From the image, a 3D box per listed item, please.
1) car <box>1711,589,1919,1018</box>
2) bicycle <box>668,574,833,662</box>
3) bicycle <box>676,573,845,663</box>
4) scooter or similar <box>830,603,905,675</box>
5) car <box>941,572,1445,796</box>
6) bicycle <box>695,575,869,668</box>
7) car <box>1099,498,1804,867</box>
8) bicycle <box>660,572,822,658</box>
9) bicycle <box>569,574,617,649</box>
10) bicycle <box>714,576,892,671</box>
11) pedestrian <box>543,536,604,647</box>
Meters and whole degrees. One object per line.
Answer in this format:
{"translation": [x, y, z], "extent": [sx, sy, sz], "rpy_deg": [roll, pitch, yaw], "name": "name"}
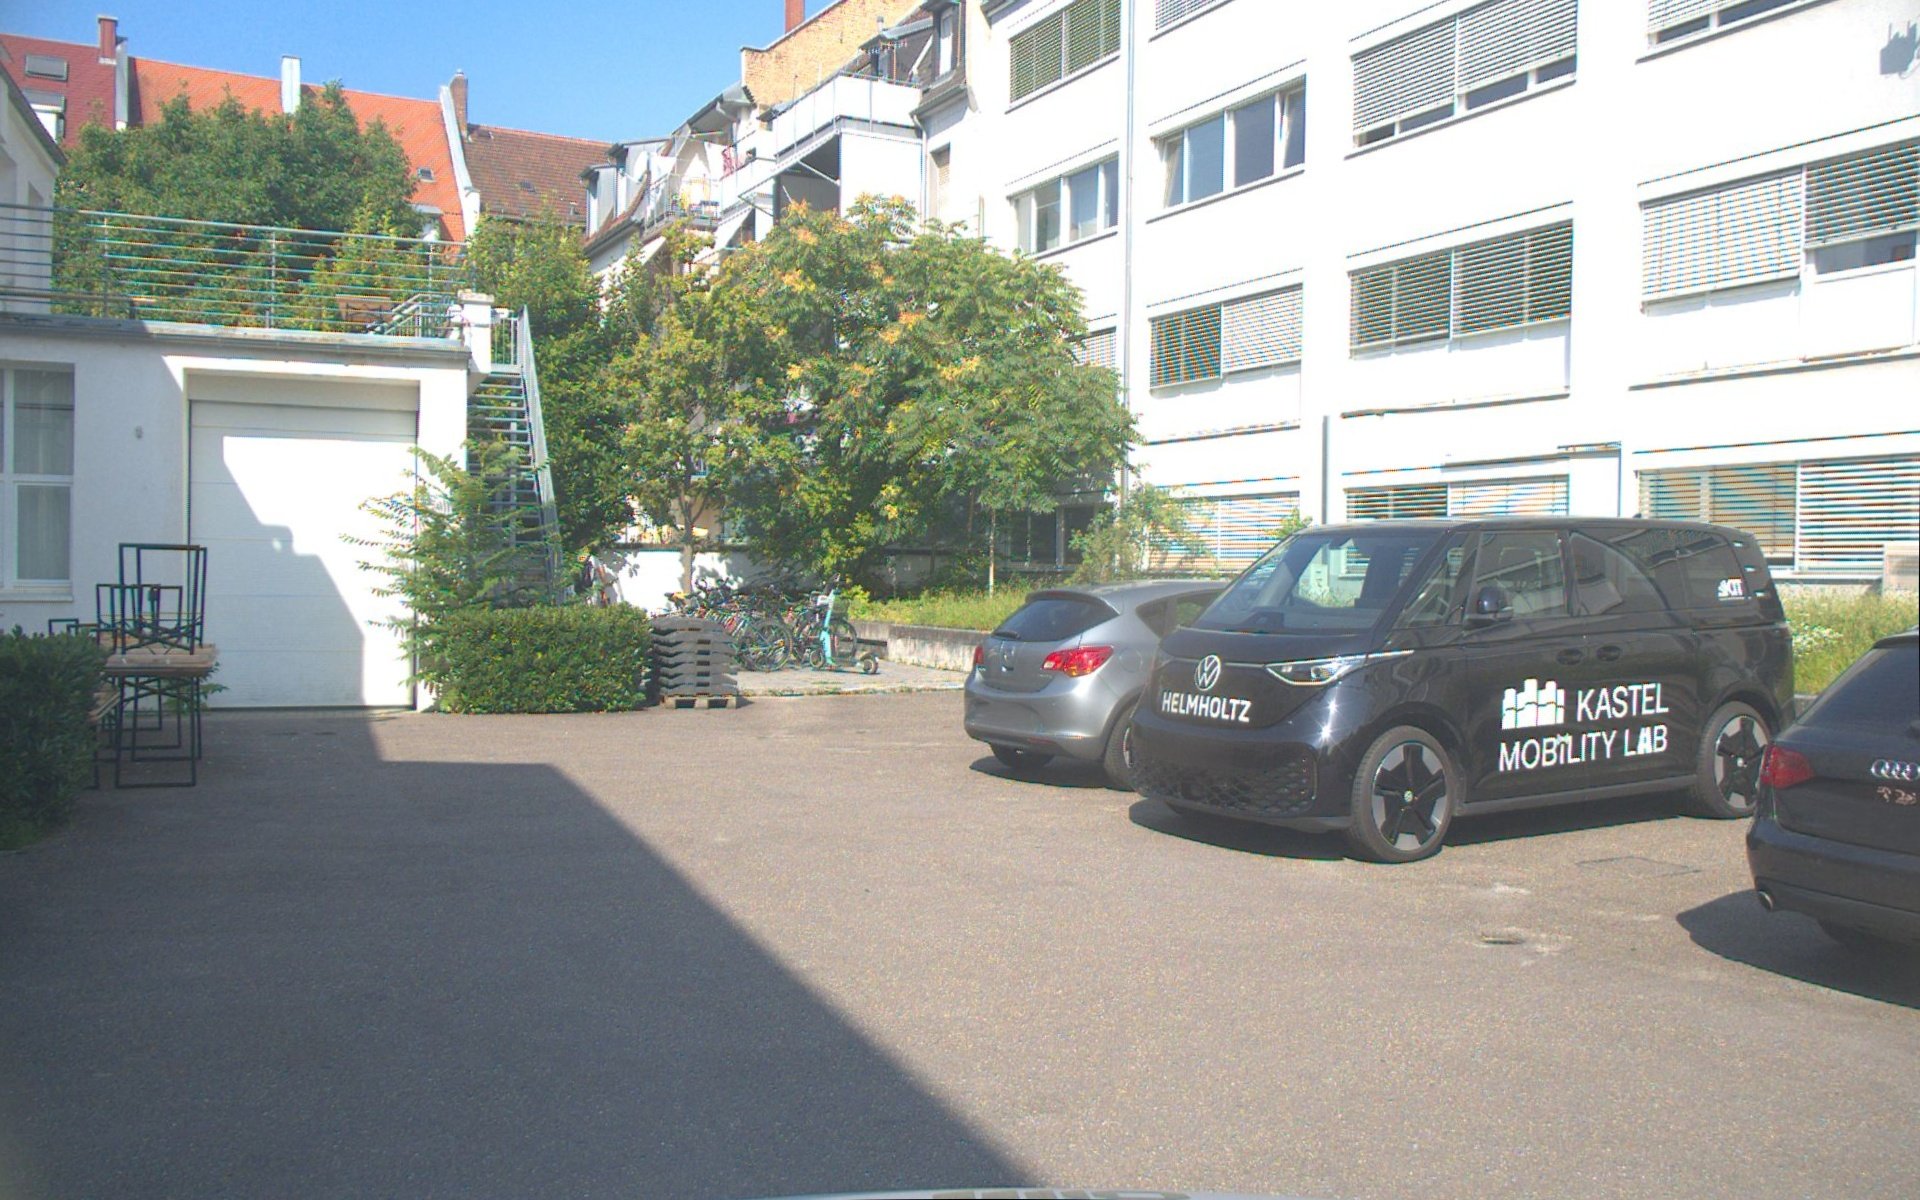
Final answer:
{"translation": [5.212, 0.706, 6.613], "extent": [4.176, 1.462, 1.678], "rpy_deg": [0, 2, -24], "name": "car"}
{"translation": [-3.119, 0.269, 24.701], "extent": [2.377, 1.268, 0.523], "rpy_deg": [1, 1, -22], "name": "bicycle"}
{"translation": [-2.896, 0.266, 24.111], "extent": [2.377, 1.268, 0.523], "rpy_deg": [1, 1, -22], "name": "bicycle"}
{"translation": [-1.267, 0.521, 22.640], "extent": [0.978, 0.940, 0.359], "rpy_deg": [2, 1, 31], "name": "scooter or similar"}
{"translation": [1.895, 0.538, 12.989], "extent": [3.864, 1.491, 1.643], "rpy_deg": [-1, 2, -35], "name": "car"}
{"translation": [-2.499, 0.307, 23.368], "extent": [2.377, 1.268, 0.523], "rpy_deg": [1, 1, -22], "name": "bicycle"}
{"translation": [3.156, 0.380, 10.411], "extent": [4.292, 1.891, 1.895], "rpy_deg": [0, 2, -32], "name": "car"}
{"translation": [-3.342, 0.229, 25.307], "extent": [2.377, 1.268, 0.523], "rpy_deg": [1, 1, -22], "name": "bicycle"}
{"translation": [-6.086, 0.167, 27.507], "extent": [0.478, 1.163, 1.993], "rpy_deg": [0, 2, -4], "name": "bicycle"}
{"translation": [-2.154, 0.333, 22.777], "extent": [2.377, 1.268, 0.523], "rpy_deg": [1, 1, -22], "name": "bicycle"}
{"translation": [-6.422, -0.143, 27.506], "extent": [0.841, 1.802, 0.611], "rpy_deg": [1, 1, -4], "name": "pedestrian"}
